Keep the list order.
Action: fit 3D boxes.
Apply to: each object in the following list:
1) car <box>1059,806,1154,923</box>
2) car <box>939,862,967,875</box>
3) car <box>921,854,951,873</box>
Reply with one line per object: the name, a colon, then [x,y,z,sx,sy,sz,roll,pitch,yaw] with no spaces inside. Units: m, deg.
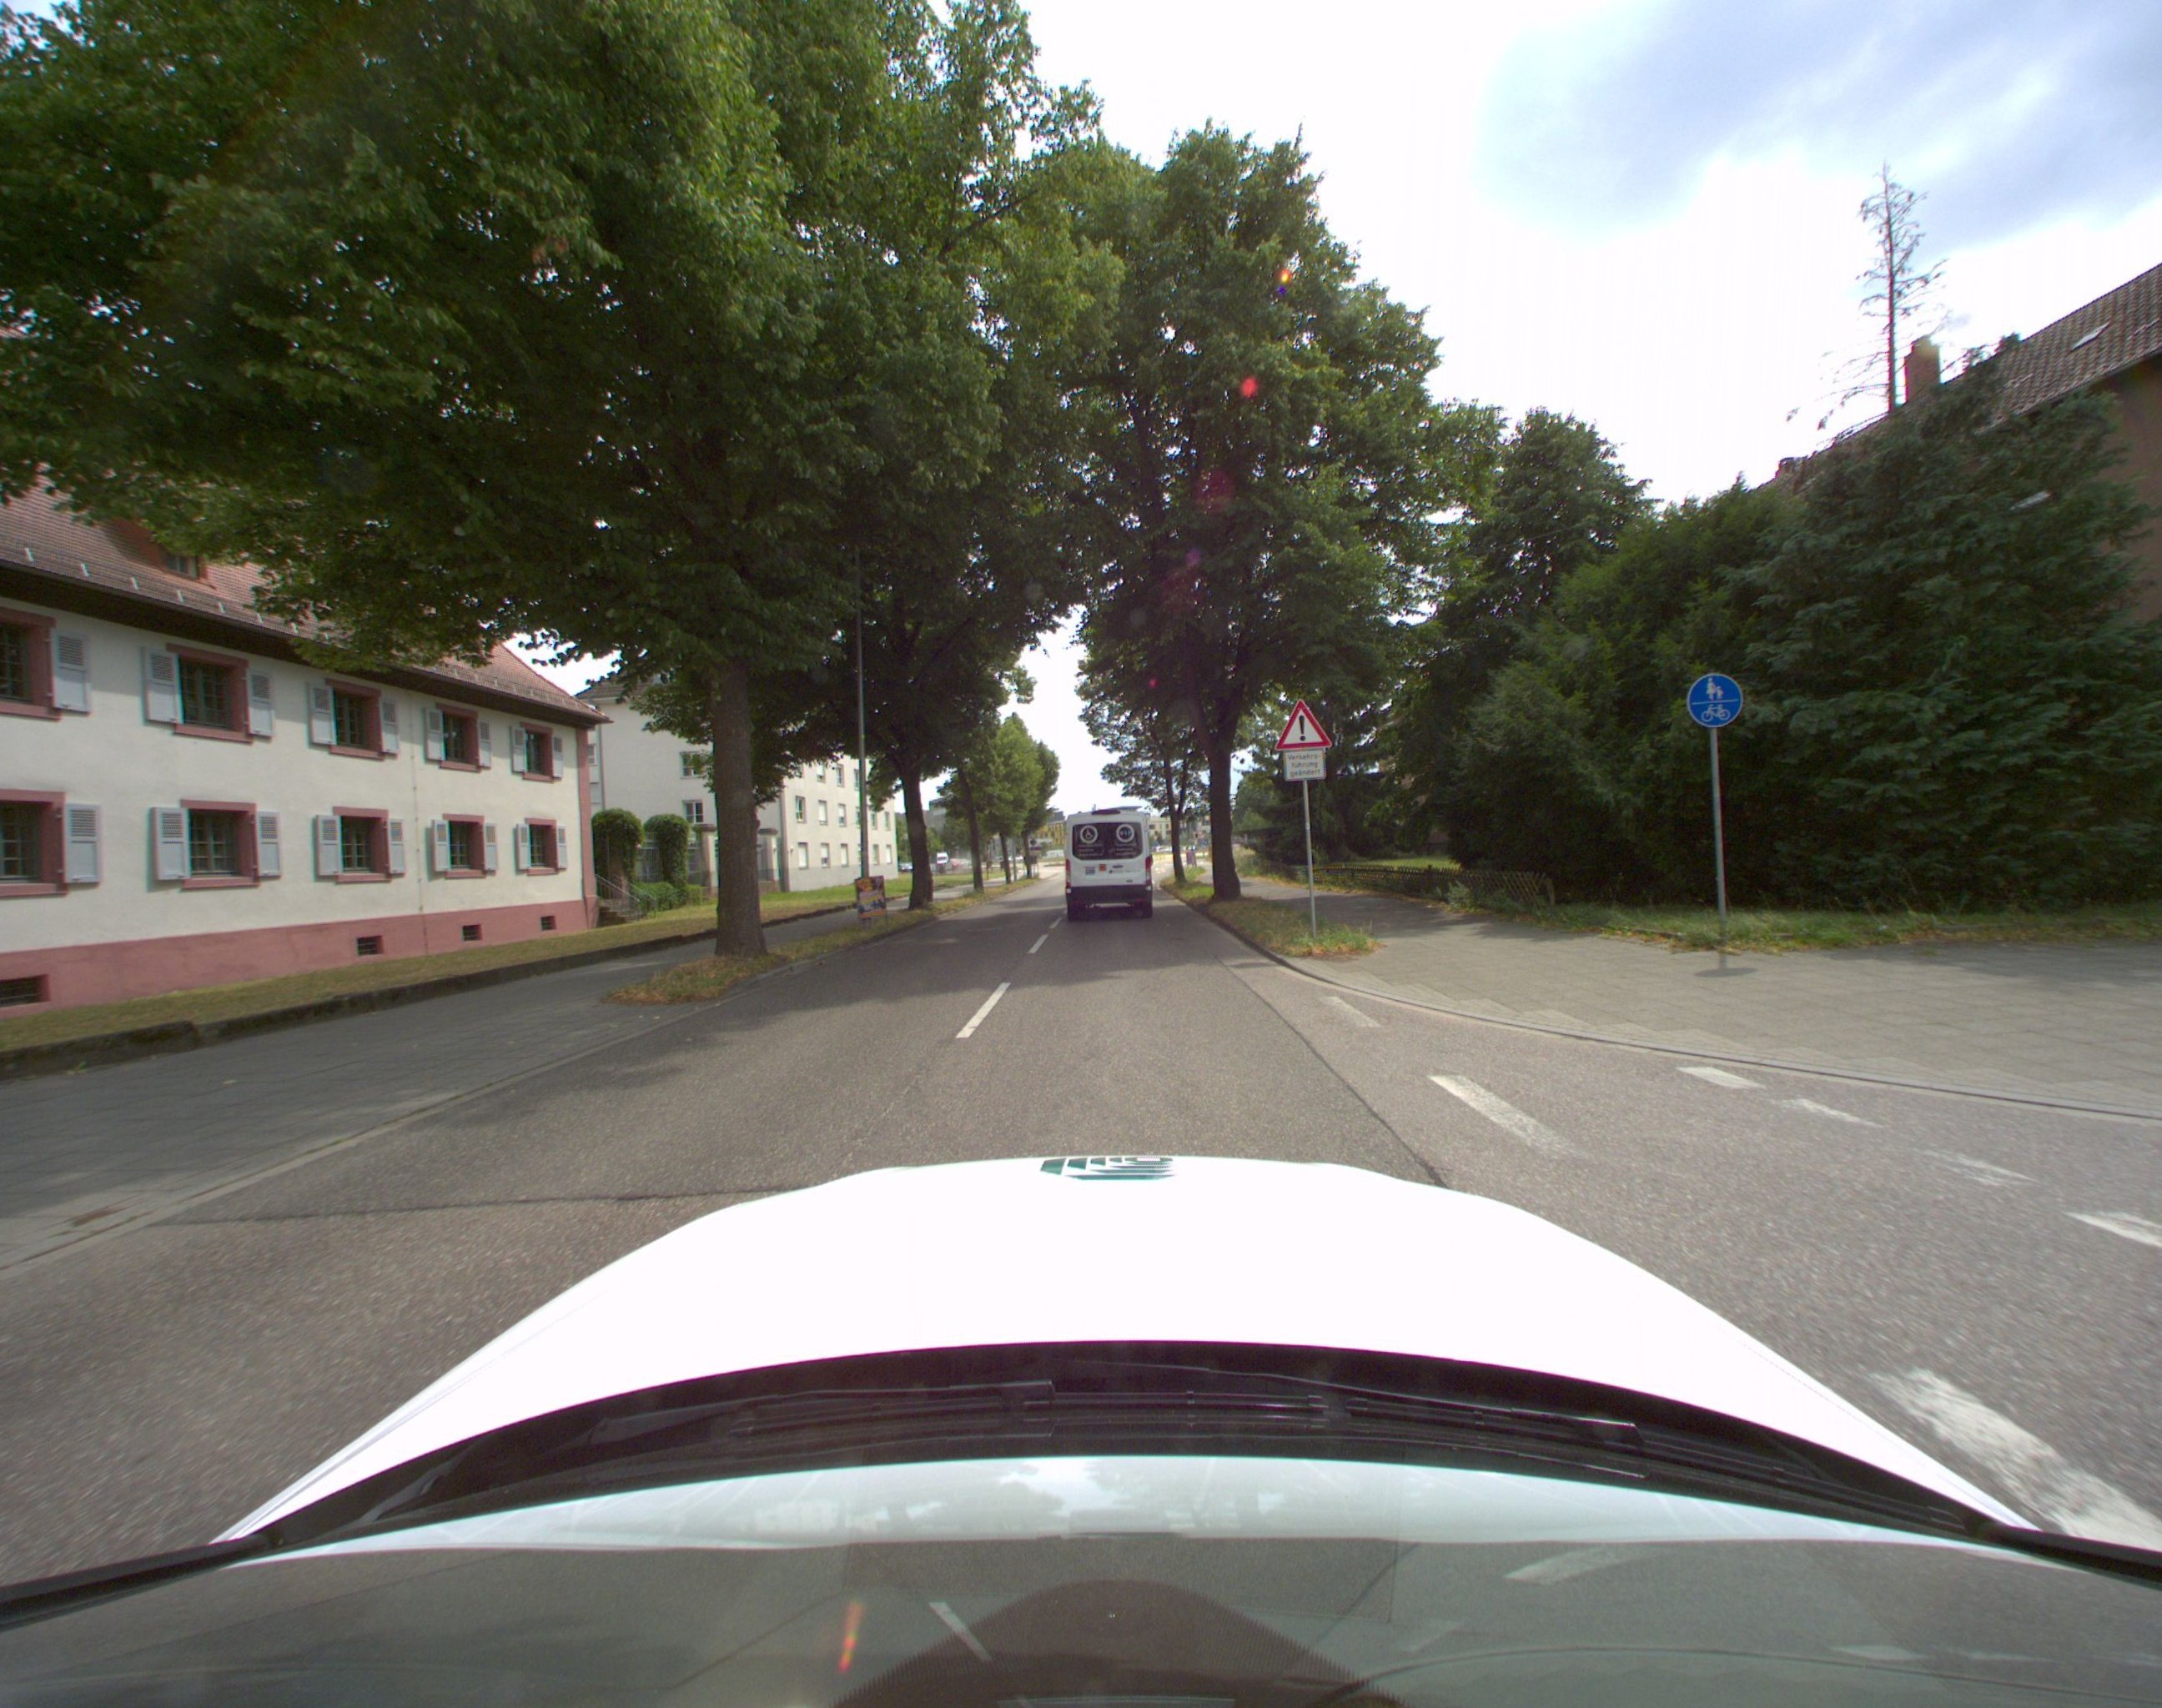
car: [0.588,0.243,20.104,2.056,2.540,4.000,-2,-1,0]
car: [-19.909,2.330,126.969,3.948,1.661,1.903,-5,1,33]
car: [-24.597,1.635,137.794,2.631,2.850,5.612,-5,1,-36]
